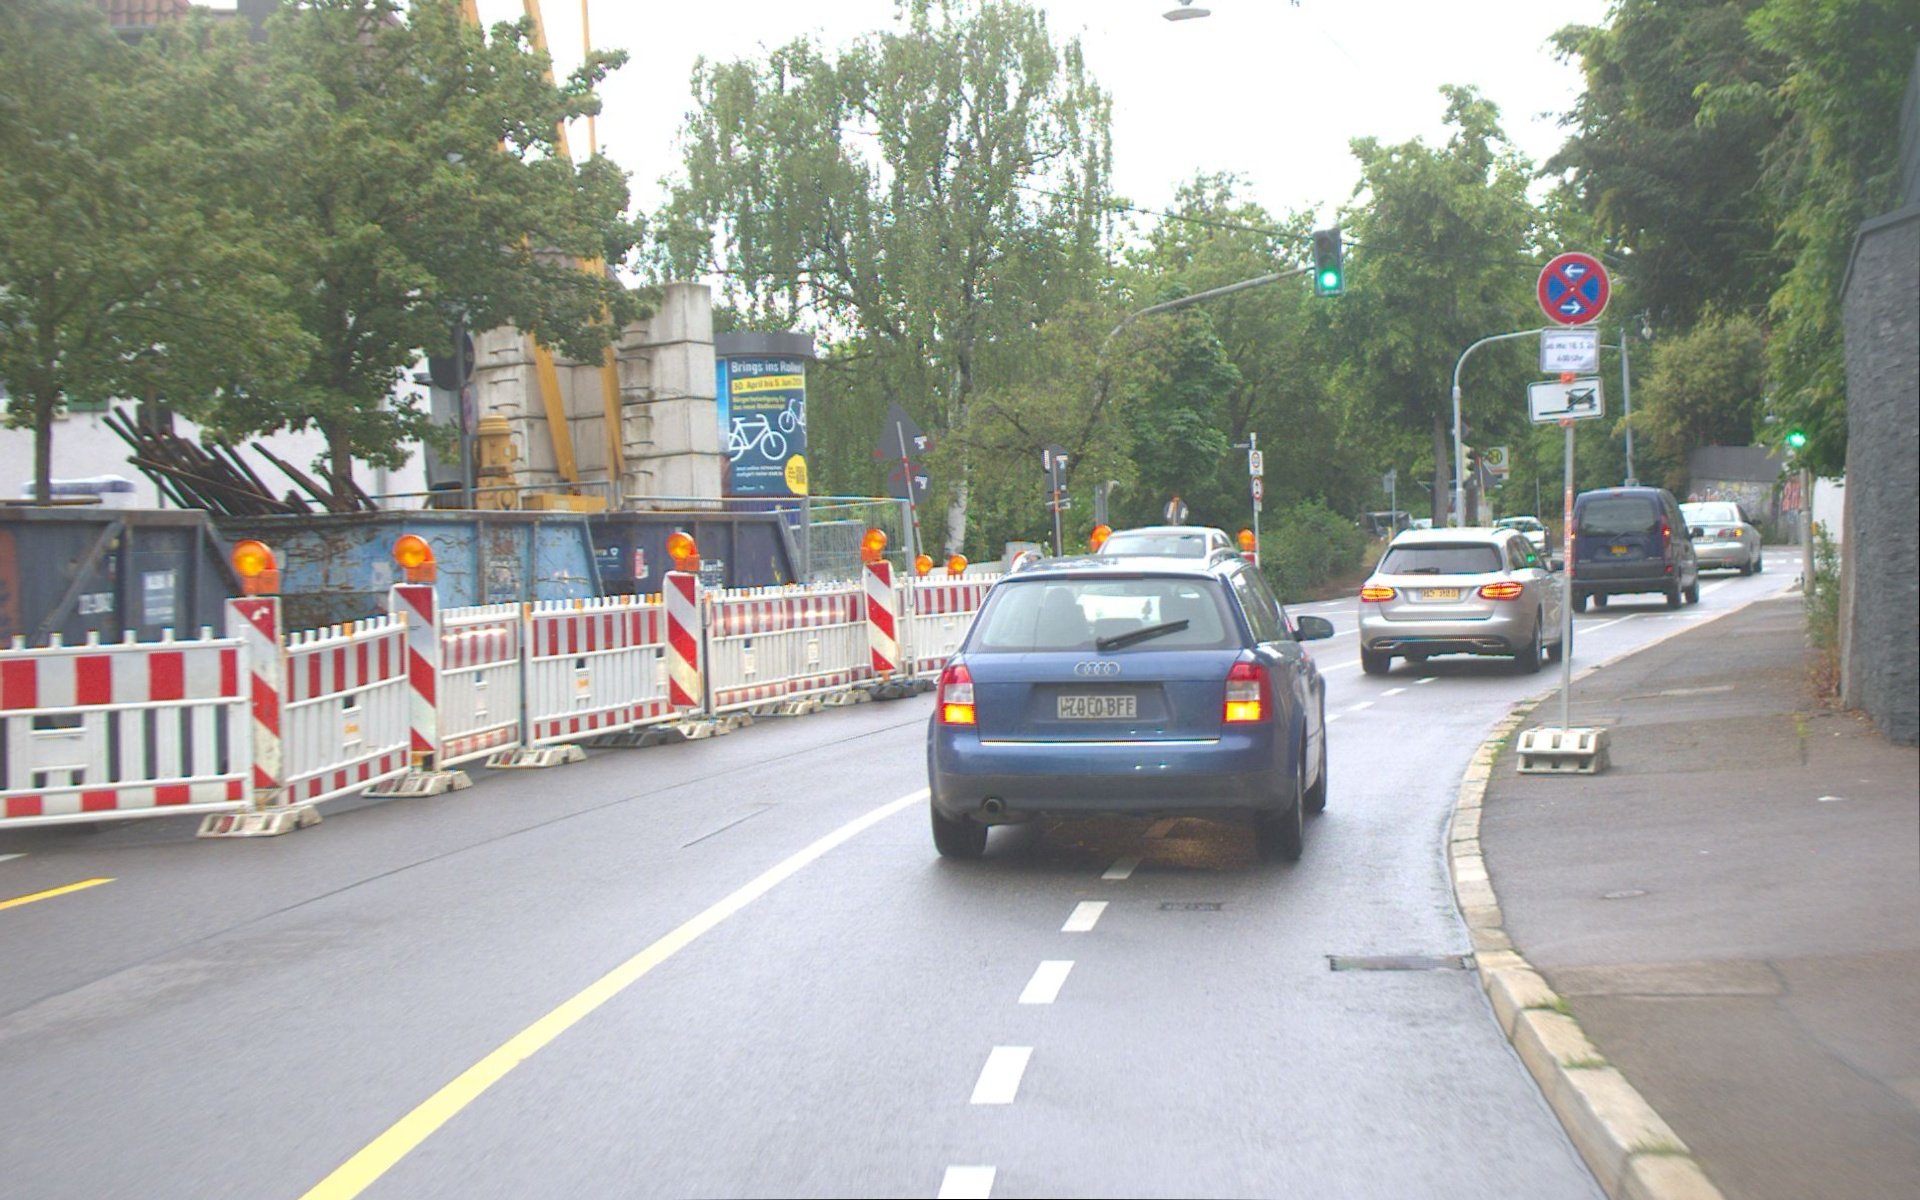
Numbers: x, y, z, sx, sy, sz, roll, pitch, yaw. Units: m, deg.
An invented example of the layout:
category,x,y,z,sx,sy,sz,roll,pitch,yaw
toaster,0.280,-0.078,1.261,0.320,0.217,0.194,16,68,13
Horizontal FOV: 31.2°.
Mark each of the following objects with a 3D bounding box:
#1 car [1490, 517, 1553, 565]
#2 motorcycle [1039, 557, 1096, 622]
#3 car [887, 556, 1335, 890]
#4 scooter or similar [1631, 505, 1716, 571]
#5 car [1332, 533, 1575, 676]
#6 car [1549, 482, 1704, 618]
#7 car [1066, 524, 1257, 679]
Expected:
category,x,y,z,sx,sy,sz,roll,pitch,yaw
car,18.099,-1.907,110.933,1.674,1.422,3.999,-4,1,5
motorcycle,2.012,-0.205,64.090,0.591,1.127,1.842,-4,1,15
car,0.869,0.510,17.084,1.778,1.434,3.999,0,1,9
scooter or similar,13.424,-1.158,64.698,0.651,1.054,1.559,-5,-3,-25
car,5.187,0.024,35.712,1.910,1.383,4.347,0,1,16
car,10.224,-0.793,52.536,1.732,1.888,4.052,-4,1,18
car,2.106,-0.007,35.288,1.456,1.521,2.921,0,1,14
